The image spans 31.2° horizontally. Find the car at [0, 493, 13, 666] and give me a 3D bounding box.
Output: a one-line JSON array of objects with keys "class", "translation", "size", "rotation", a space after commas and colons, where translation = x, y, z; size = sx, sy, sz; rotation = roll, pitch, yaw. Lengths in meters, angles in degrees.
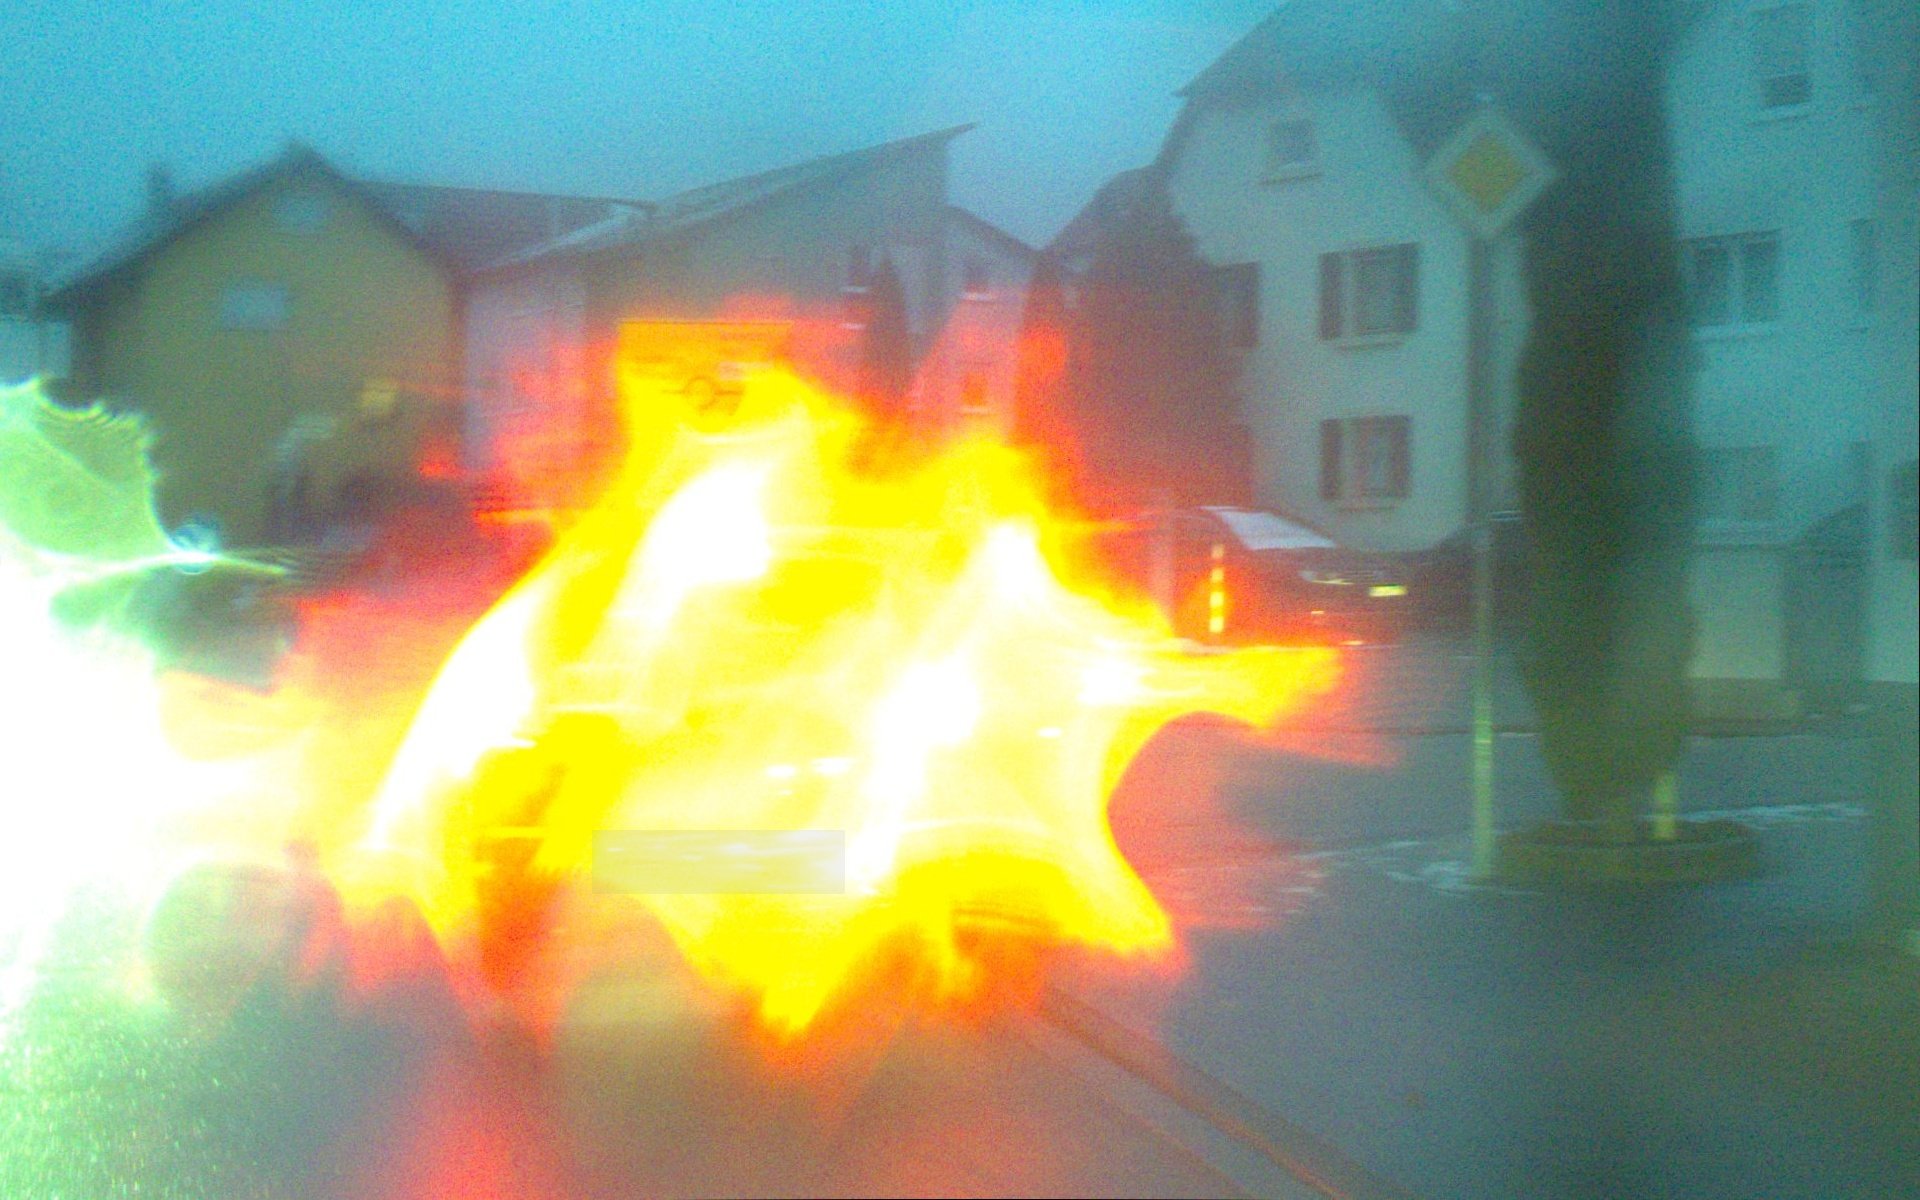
[{"class": "car", "translation": [-10.543, -0.258, 34.420], "size": [1.911, 1.647, 4.002], "rotation": [1, 2, -14]}]

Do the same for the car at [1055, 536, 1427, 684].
[{"class": "car", "translation": [3.298, 0.070, 41.143], "size": [1.810, 1.623, 4.550], "rotation": [-3, 2, -38]}]

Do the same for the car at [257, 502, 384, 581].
[{"class": "car", "translation": [-14.408, -1.327, 77.277], "size": [1.993, 1.638, 4.001], "rotation": [1, 2, -22]}]

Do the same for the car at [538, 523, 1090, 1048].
[{"class": "car", "translation": [-0.356, 0.487, 11.571], "size": [1.546, 1.461, 3.698], "rotation": [1, 1, 2]}]

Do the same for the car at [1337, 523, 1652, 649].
[{"class": "car", "translation": [7.097, -0.221, 45.956], "size": [1.810, 1.561, 3.999], "rotation": [-3, 2, -38]}]

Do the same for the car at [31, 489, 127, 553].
[{"class": "car", "translation": [-24.333, -2.185, 94.873], "size": [1.993, 1.638, 4.001], "rotation": [1, 2, -22]}]
